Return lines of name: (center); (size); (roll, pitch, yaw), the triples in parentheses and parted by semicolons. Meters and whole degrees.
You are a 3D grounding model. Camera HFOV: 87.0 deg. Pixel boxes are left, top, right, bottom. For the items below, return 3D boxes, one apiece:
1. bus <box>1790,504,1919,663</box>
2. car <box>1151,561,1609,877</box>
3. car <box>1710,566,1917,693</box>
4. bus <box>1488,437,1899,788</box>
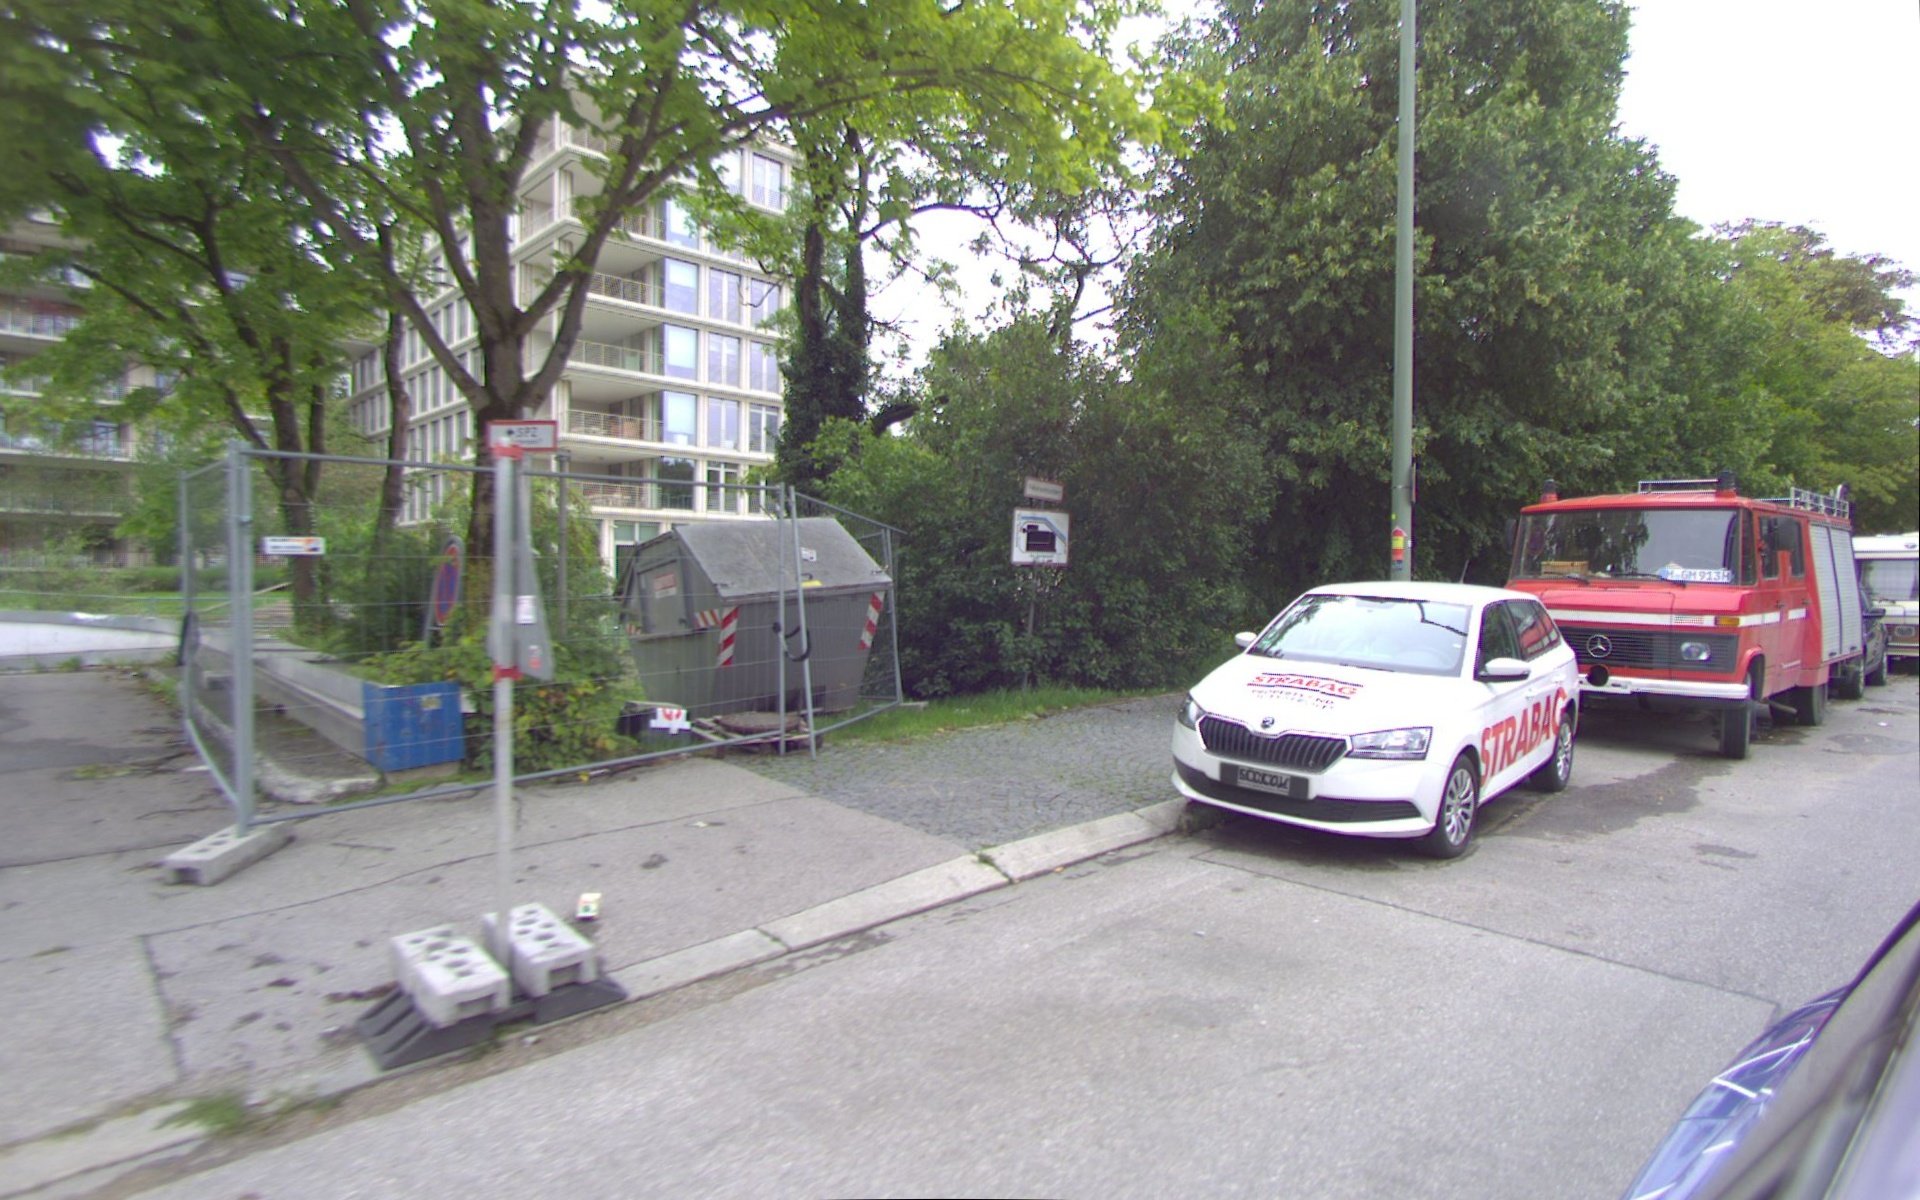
bus: (18.571, -0.300, 19.806); (5.755, 2.764, 2.080); (0, 1, -35)
car: (3.044, 0.515, 6.844); (1.532, 1.510, 3.998); (2, 2, 43)
car: (13.045, 0.382, 15.380); (4.321, 1.660, 1.781); (1, 1, -42)
bus: (8.160, 0.077, 10.940); (6.160, 2.840, 2.077); (0, 1, -40)
